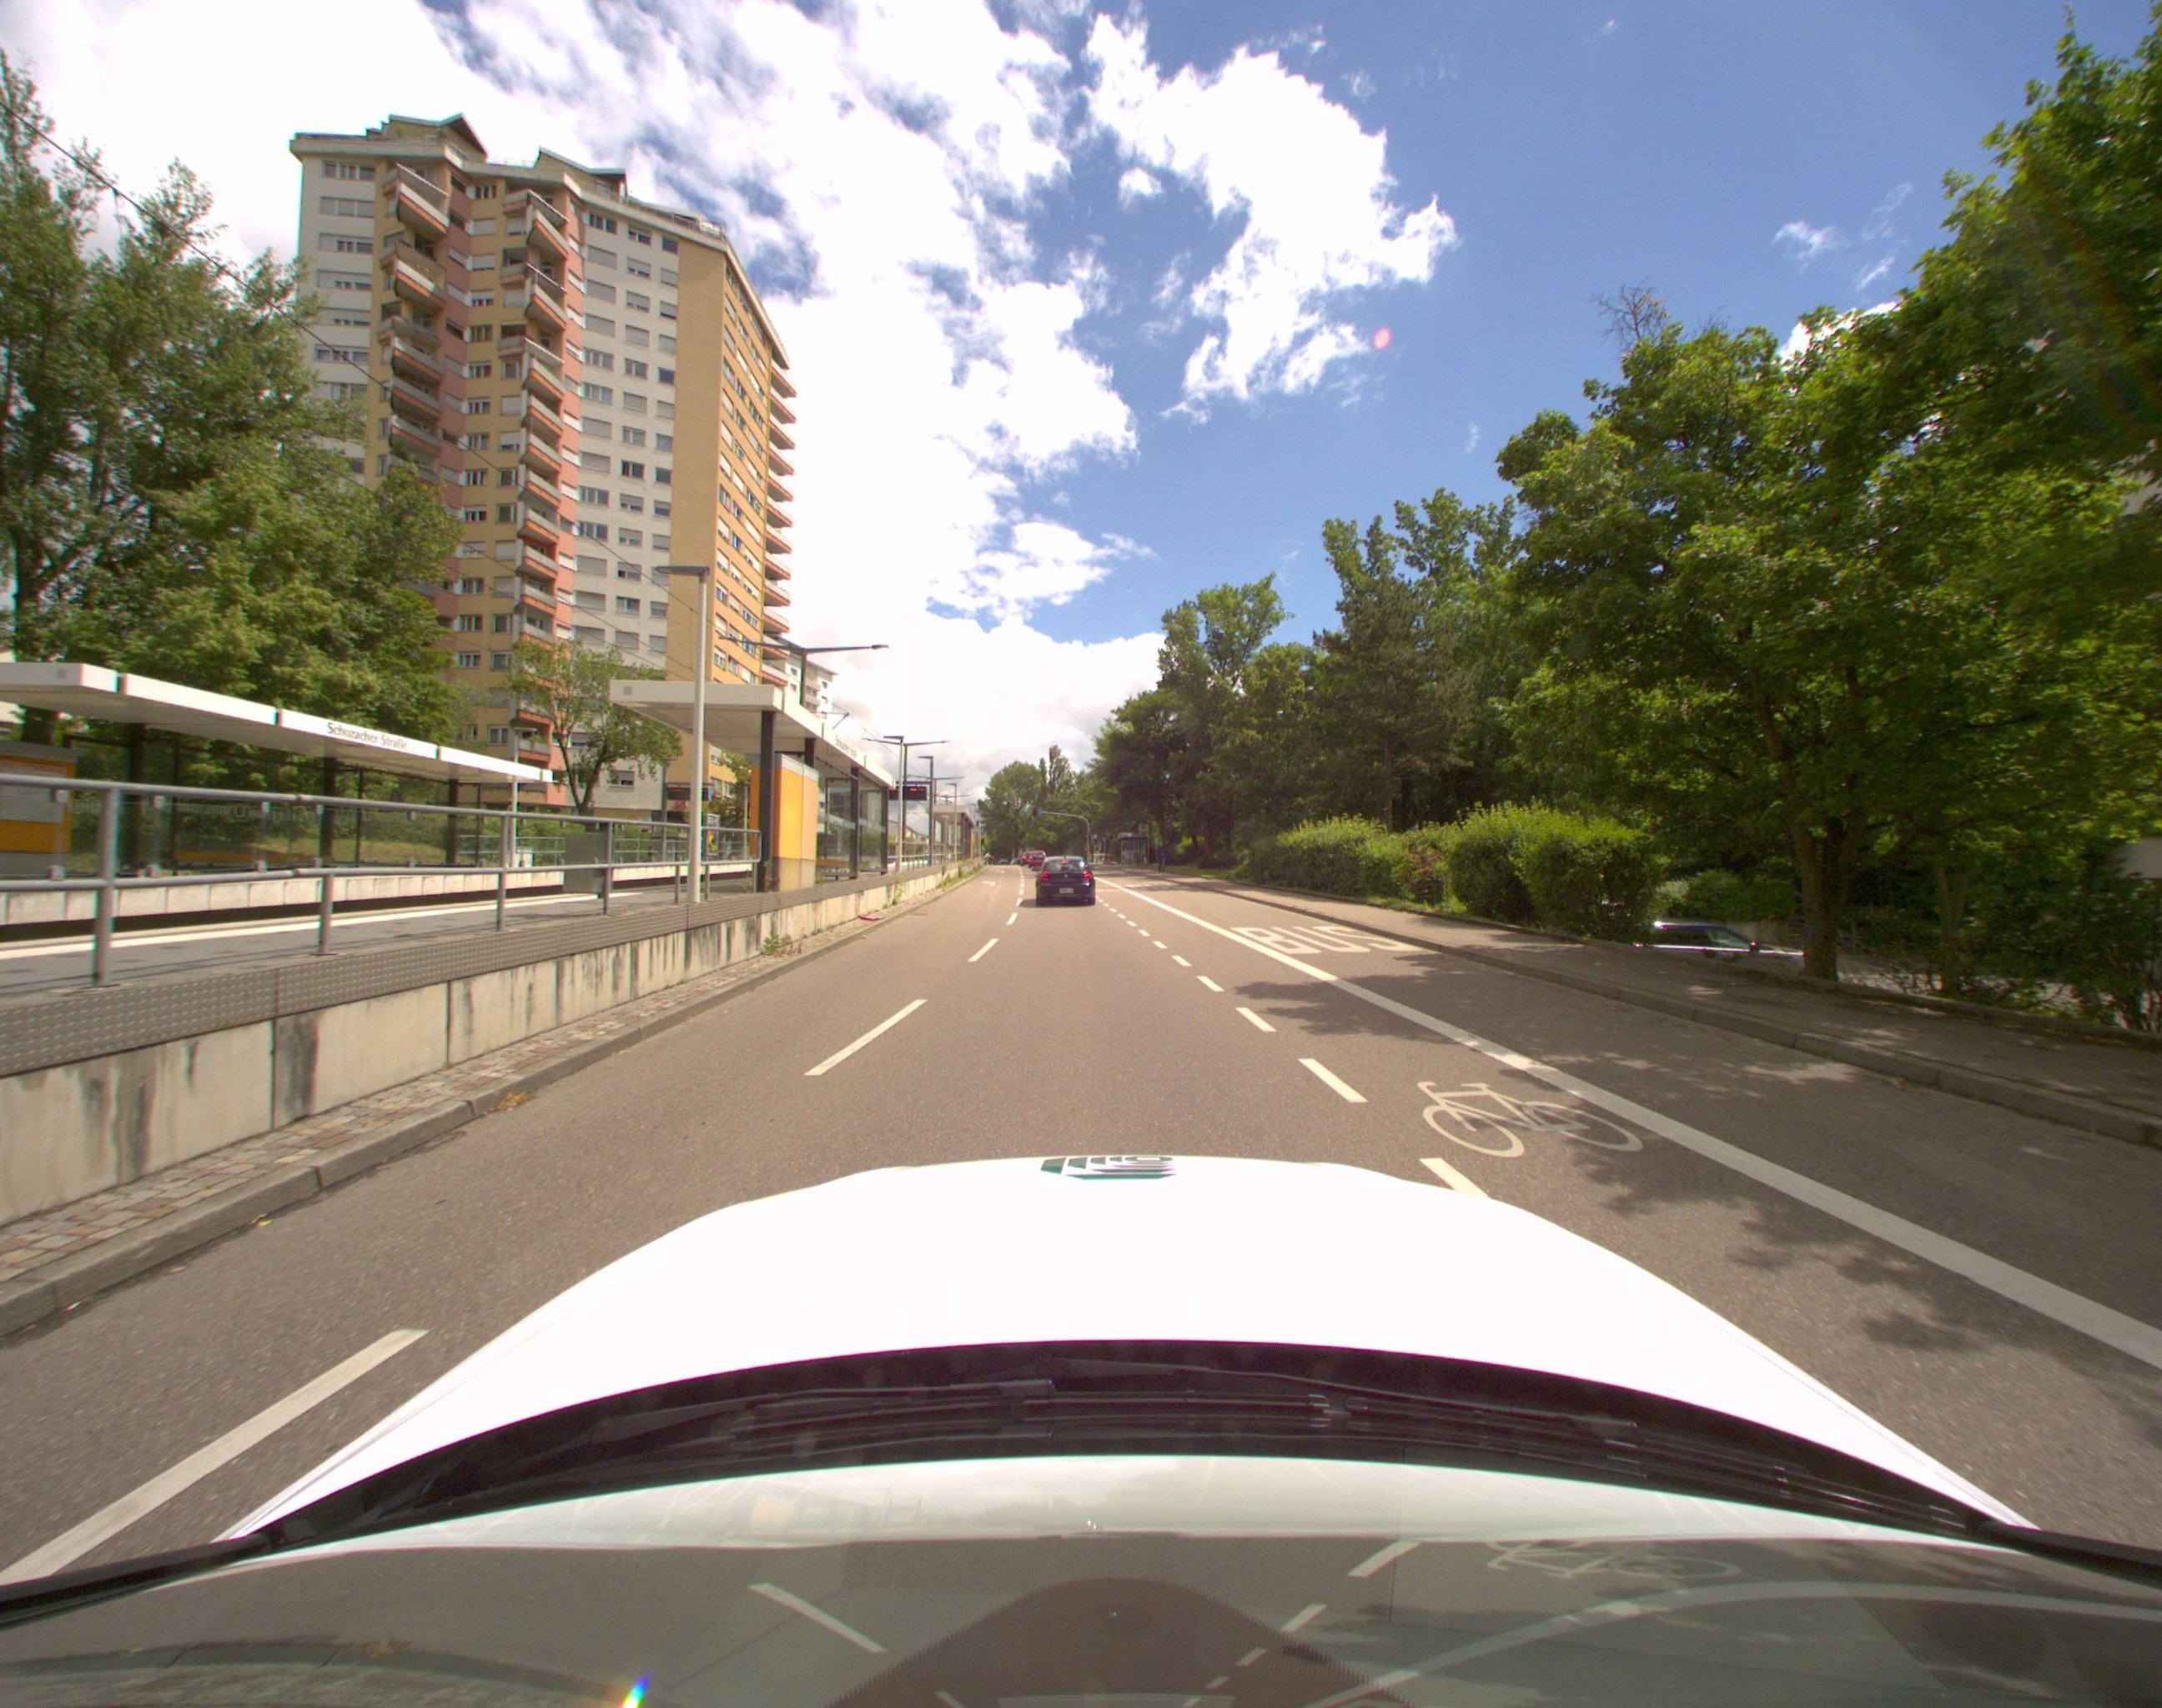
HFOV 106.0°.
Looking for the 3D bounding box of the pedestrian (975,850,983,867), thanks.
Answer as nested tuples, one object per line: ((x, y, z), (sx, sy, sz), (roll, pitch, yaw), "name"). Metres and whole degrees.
((-10.132, 0.452, 81.053), (0.699, 1.632, 0.637), (-1, 0, -3), "pedestrian")

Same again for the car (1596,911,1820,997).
((12.283, 1.931, 16.101), (3.244, 1.490, 1.573), (0, 0, 1), "car")

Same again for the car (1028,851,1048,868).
((-3.750, 0.432, 70.679), (1.592, 1.419, 3.512), (-1, 0, -4), "car")

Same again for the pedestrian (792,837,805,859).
((-17.739, -0.393, 51.207), (0.642, 1.369, 0.506), (-1, 0, -5), "pedestrian")

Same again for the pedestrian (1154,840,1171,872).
((4.866, 0.098, 48.741), (0.799, 1.895, 1.269), (1, 0, -4), "pedestrian")

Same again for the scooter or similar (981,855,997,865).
((-10.078, 0.681, 89.188), (1.789, 1.050, 0.407), (-1, 0, -26), "scooter or similar")

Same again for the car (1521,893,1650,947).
((16.885, 2.167, 27.501), (1.864, 1.469, 3.999), (-1, 0, 0), "car")

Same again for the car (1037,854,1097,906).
((-0.475, 0.722, 24.358), (1.651, 1.419, 3.513), (-1, 0, -3), "car")

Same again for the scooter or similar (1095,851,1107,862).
((2.338, 0.281, 95.347), (1.292, 1.189, 0.382), (-1, 0, -21), "scooter or similar")

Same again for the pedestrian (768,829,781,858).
((-17.602, -0.589, 46.772), (0.524, 1.644, 0.558), (-1, 0, -37), "pedestrian")

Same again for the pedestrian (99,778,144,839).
((-27.479, -1.309, 23.339), (0.649, 1.712, 0.503), (-1, 0, -5), "pedestrian")

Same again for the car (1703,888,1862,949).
((22.517, 2.011, 26.362), (1.817, 1.618, 4.002), (0, 0, 2), "car")

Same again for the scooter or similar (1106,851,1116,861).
((3.537, 0.244, 96.208), (1.109, 1.258, 0.330), (-1, 0, -17), "scooter or similar")

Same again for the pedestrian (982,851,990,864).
((-10.423, 0.413, 89.635), (0.864, 1.442, 0.797), (-1, 0, -6), "pedestrian")

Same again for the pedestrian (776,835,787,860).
((-17.462, -0.382, 47.463), (0.542, 1.380, 0.519), (-1, -3, -14), "pedestrian")

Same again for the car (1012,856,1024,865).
((-10.436, 1.053, 134.817), (1.649, 1.419, 3.516), (1, 0, -1), "car")

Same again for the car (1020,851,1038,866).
((-5.236, 0.421, 81.936), (1.652, 1.419, 3.509), (-1, 0, -6), "car")
